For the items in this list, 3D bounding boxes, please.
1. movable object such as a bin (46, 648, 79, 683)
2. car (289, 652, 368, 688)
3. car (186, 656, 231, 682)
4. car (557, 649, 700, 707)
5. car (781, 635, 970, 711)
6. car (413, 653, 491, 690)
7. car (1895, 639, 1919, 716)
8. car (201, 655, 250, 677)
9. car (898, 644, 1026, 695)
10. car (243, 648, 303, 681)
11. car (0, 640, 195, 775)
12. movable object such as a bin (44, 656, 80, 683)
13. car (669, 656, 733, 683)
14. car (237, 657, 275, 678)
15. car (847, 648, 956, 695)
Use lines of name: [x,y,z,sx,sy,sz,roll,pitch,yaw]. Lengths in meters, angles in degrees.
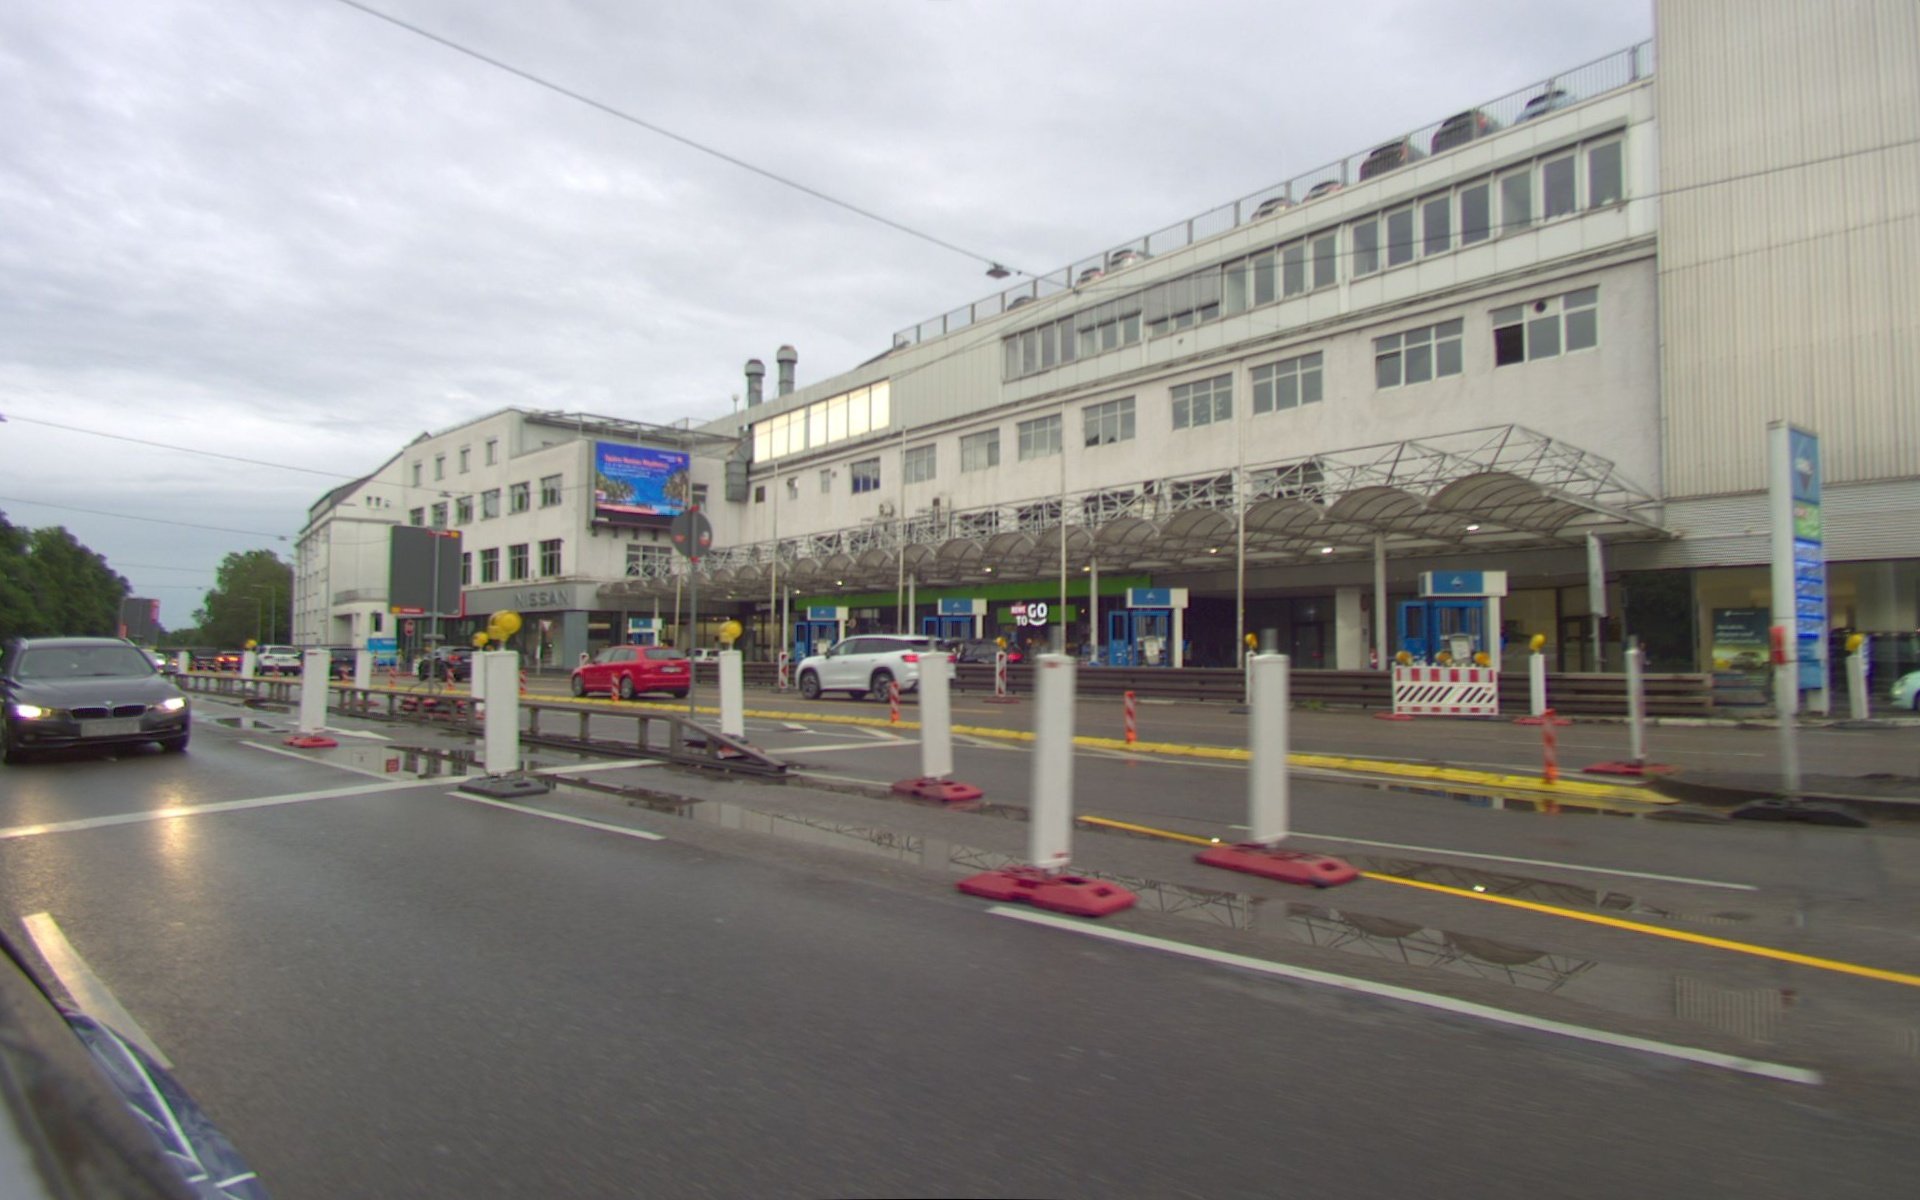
movable object such as a bin: [-77.822,5.671,87.769,1.799,2.935,3.613,5,-6,-39]
car: [-28.835,3.174,46.161,4.299,1.533,1.938,-3,-5,43]
car: [-61.016,5.595,82.109,5.231,1.951,1.971,-3,-6,43]
car: [-8.924,2.020,27.081,4.288,1.415,1.717,-3,-4,42]
car: [-2.206,1.783,25.436,4.830,1.720,1.958,-3,-4,42]
car: [-22.560,3.151,44.852,4.077,1.548,1.692,-3,-6,42]
car: [20.959,1.551,19.788,1.632,1.547,3.760,4,-5,-41]
car: [-51.500,4.630,70.908,4.707,1.477,1.831,-3,-5,43]
car: [0.026,2.542,36.963,4.410,1.692,2.017,2,-4,-6]
car: [-37.903,3.552,55.791,1.915,1.703,4.583,4,-5,-44]
car: [-11.533,1.285,13.141,4.176,1.461,1.741,-3,-3,41]
movable object such as a bin: [-74.382,5.792,83.880,1.968,2.128,3.856,4,-6,-39]
car: [-14.977,3.989,58.391,3.969,1.494,1.792,-3,-5,45]
car: [-57.440,5.484,82.556,4.266,1.597,1.728,-3,-5,44]
car: [-2.457,2.959,41.877,4.376,1.784,1.970,2,-4,-6]
